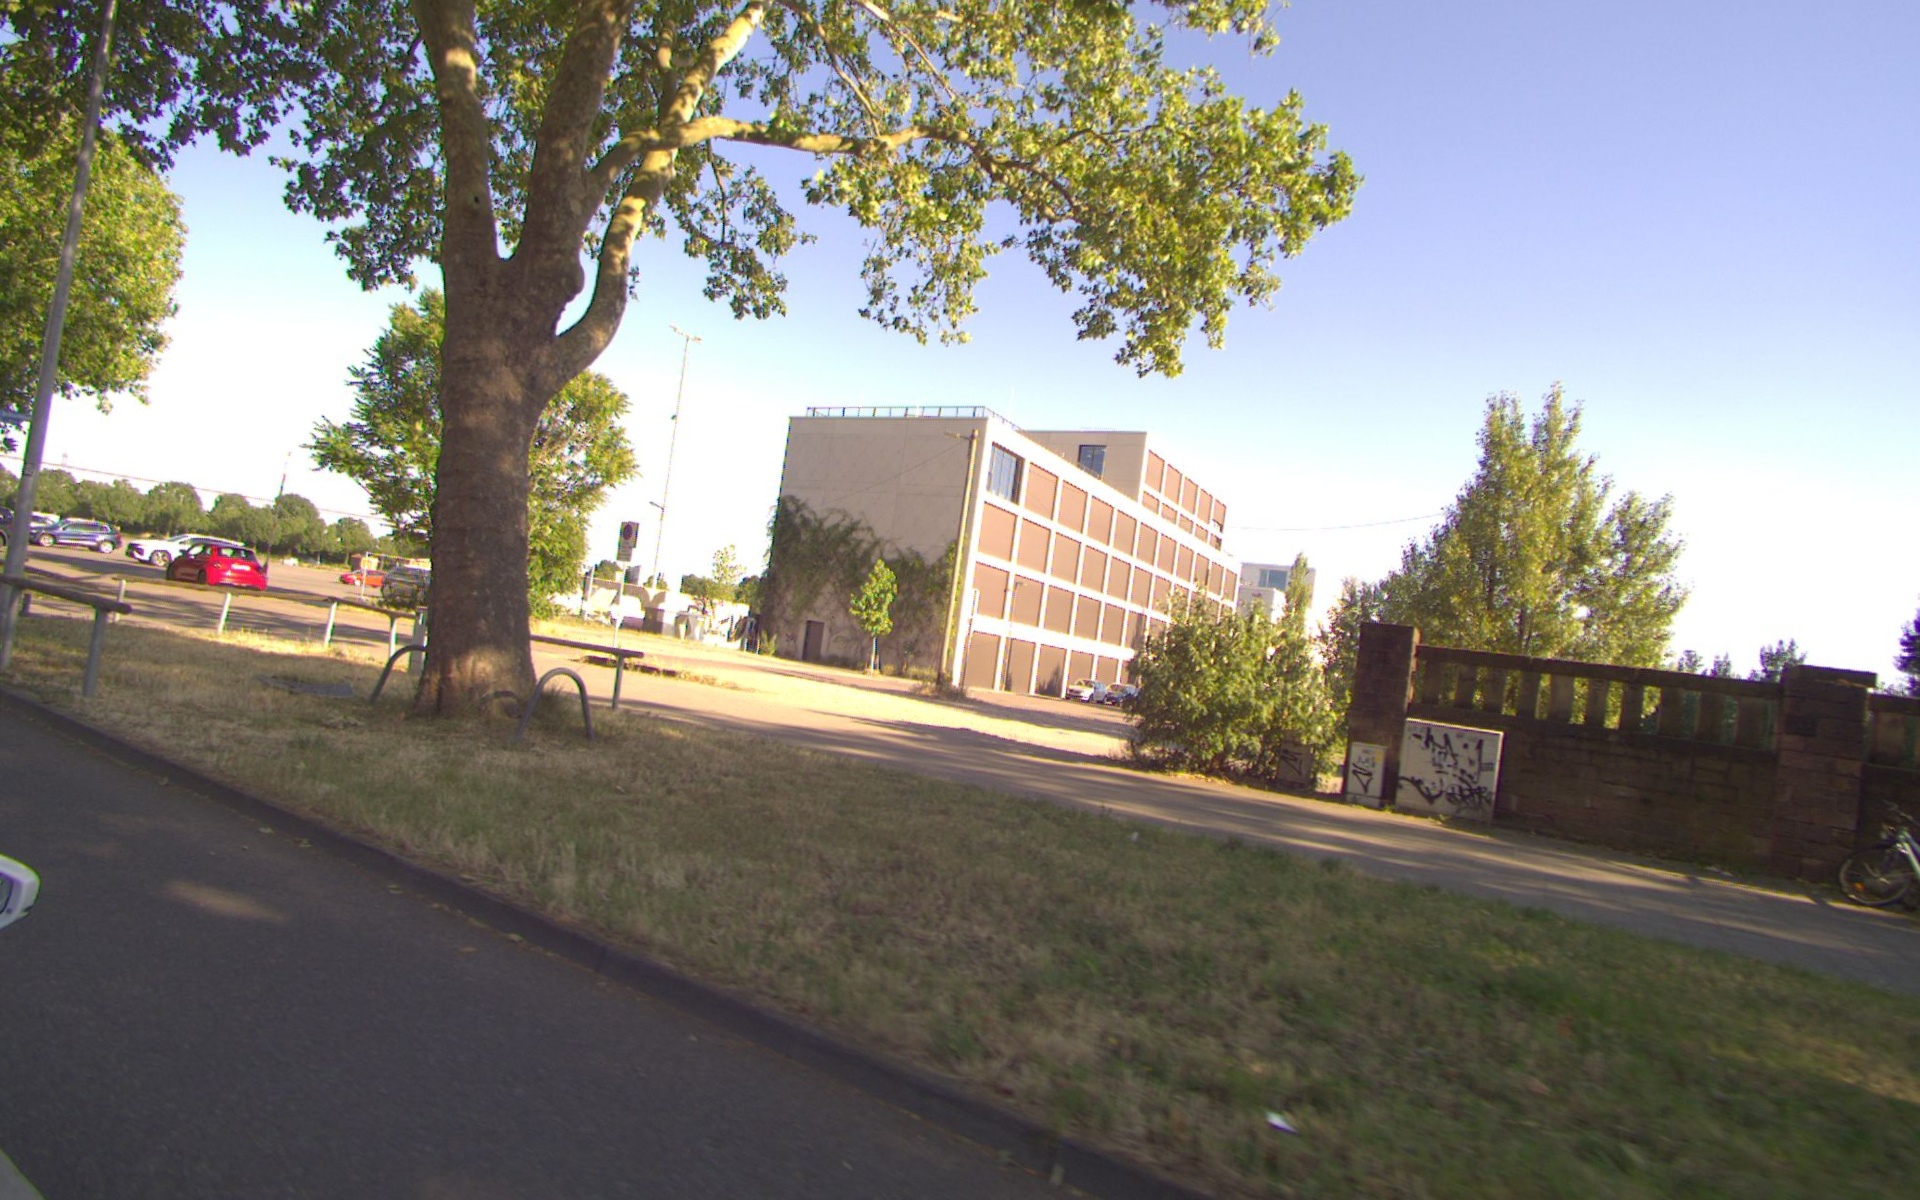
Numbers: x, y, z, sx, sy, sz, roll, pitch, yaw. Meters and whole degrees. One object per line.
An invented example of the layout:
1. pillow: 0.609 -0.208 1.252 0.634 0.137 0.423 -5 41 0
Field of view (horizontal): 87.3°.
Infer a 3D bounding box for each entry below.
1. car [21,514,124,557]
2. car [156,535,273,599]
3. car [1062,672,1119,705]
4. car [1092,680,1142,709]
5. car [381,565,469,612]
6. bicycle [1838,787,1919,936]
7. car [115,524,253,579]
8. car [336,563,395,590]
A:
1. car: -48.831 -3.521 55.401 1.642 1.626 3.822 7 -3 32
2. car: -23.976 -1.073 32.334 3.740 1.532 1.618 6 -3 32
3. car: 8.280 5.586 63.502 1.851 1.629 4.364 7 -3 31
4. car: 10.557 6.361 67.524 1.851 1.472 3.827 7 -3 31
5. car: -24.337 -0.530 45.722 3.933 1.627 1.570 6 -3 31
6. bicycle: 8.821 2.413 9.323 0.431 1.133 1.779 7 -2 24
7. car: -35.314 -2.175 45.893 1.888 1.676 4.466 6 -4 35
8. car: -49.320 -1.953 83.536 1.622 1.619 3.826 7 -3 29
